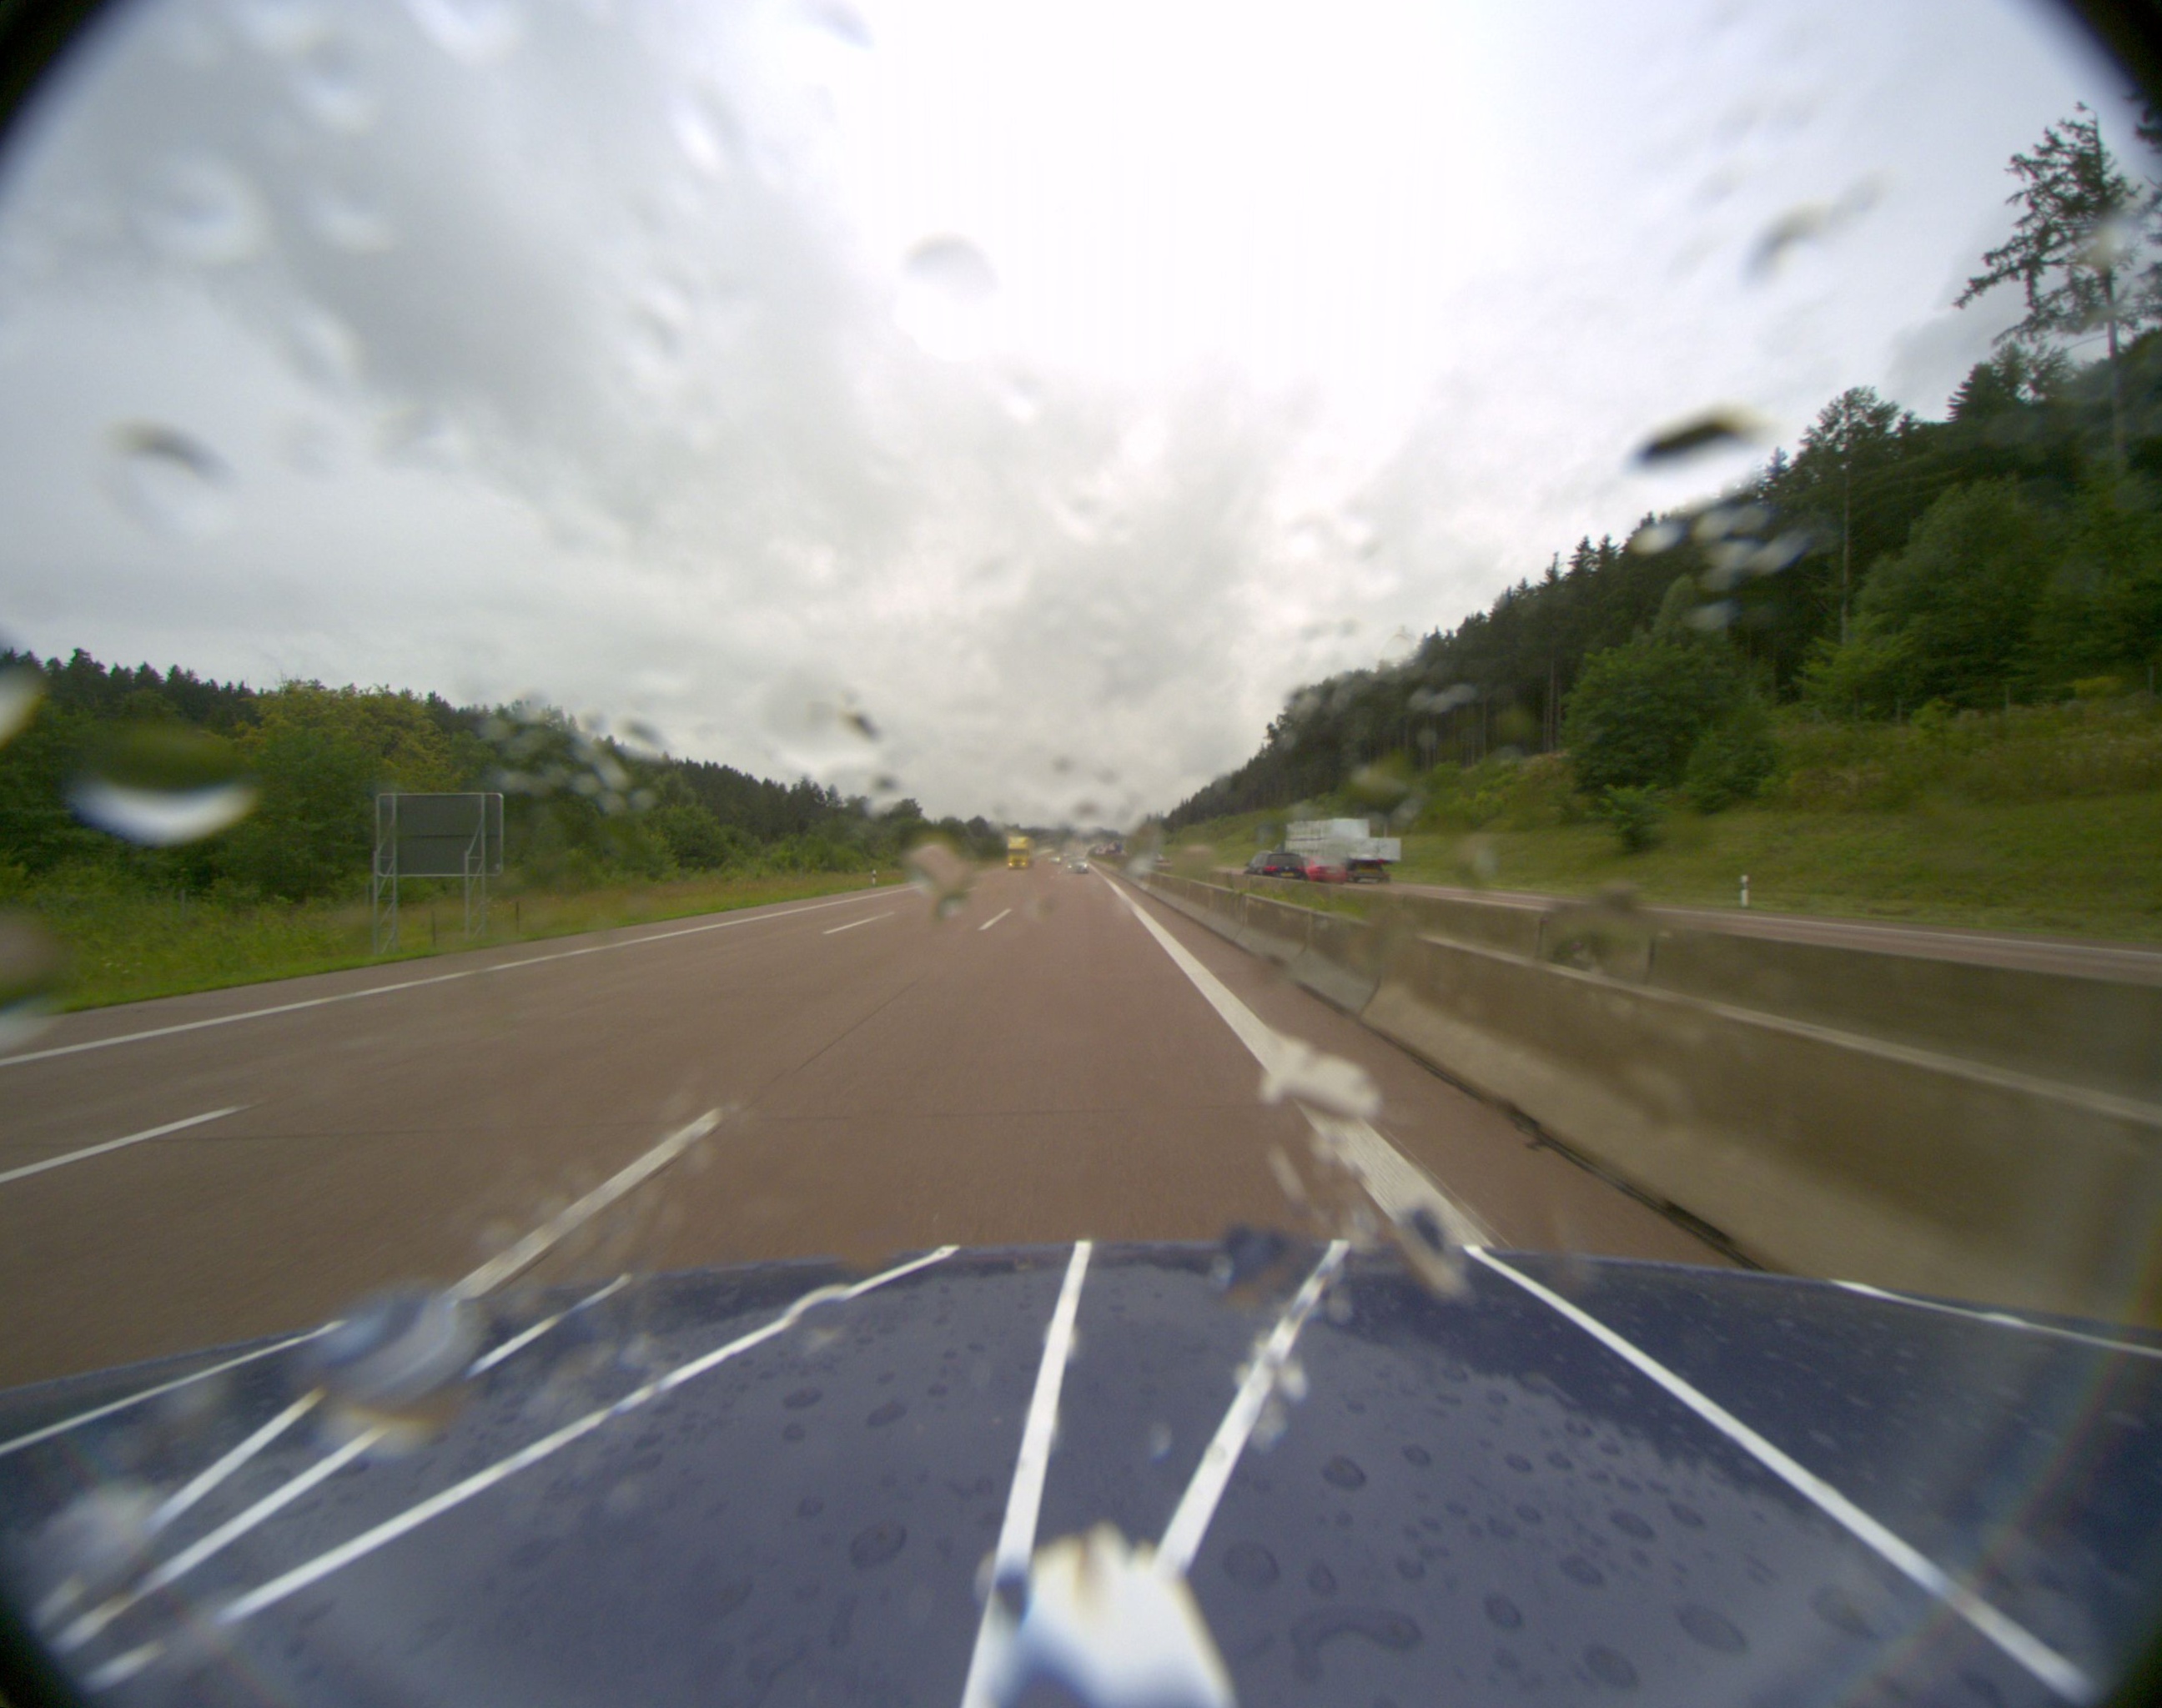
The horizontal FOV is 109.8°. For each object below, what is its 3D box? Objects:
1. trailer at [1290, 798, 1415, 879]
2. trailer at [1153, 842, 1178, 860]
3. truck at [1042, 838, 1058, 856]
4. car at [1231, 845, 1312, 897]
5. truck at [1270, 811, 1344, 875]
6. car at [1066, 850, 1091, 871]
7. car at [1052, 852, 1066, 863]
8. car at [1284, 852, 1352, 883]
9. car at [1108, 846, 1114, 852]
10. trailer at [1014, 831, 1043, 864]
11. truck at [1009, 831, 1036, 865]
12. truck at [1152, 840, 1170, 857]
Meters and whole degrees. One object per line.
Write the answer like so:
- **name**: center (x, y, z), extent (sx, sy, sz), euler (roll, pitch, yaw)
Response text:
- **trailer**: center (16.441, -0.788, 47.439), extent (2.941, 4.250, 12.944), euler (2, 0, 0)
- **trailer**: center (15.821, -0.693, 143.521), extent (2.846, 2.981, 14.430), euler (-3, 1, 0)
- **truck**: center (-7.932, -1.857, 196.848), extent (3.190, 4.349, 14.701), euler (-2, 1, 1)
- **car**: center (8.015, 0.624, 32.624), extent (1.823, 1.831, 6.236), euler (-3, 1, 0)
- **truck**: center (16.400, -0.702, 55.744), extent (2.972, 4.295, 7.649), euler (2, 0, 0)
- **car**: center (-0.191, 0.537, 66.593), extent (1.998, 1.623, 4.930), euler (-2, 2, 1)
- **car**: center (-3.655, 0.543, 126.470), extent (1.998, 1.623, 4.930), euler (-2, 2, 1)
- **car**: center (11.806, 0.631, 38.226), extent (1.823, 1.361, 5.114), euler (-1, 0, 0)
- **car**: center (10.379, -1.796, 263.708), extent (2.044, 2.046, 5.068), euler (0, 2, 0)
- **trailer**: center (-7.230, -1.019, 105.909), extent (2.571, 4.205, 14.077), euler (-2, 1, 1)
- **truck**: center (-7.445, -0.817, 97.090), extent (2.610, 4.190, 6.249), euler (-2, 2, 1)
- **truck**: center (15.859, -1.062, 151.071), extent (2.871, 3.154, 6.493), euler (-3, 2, 0)
